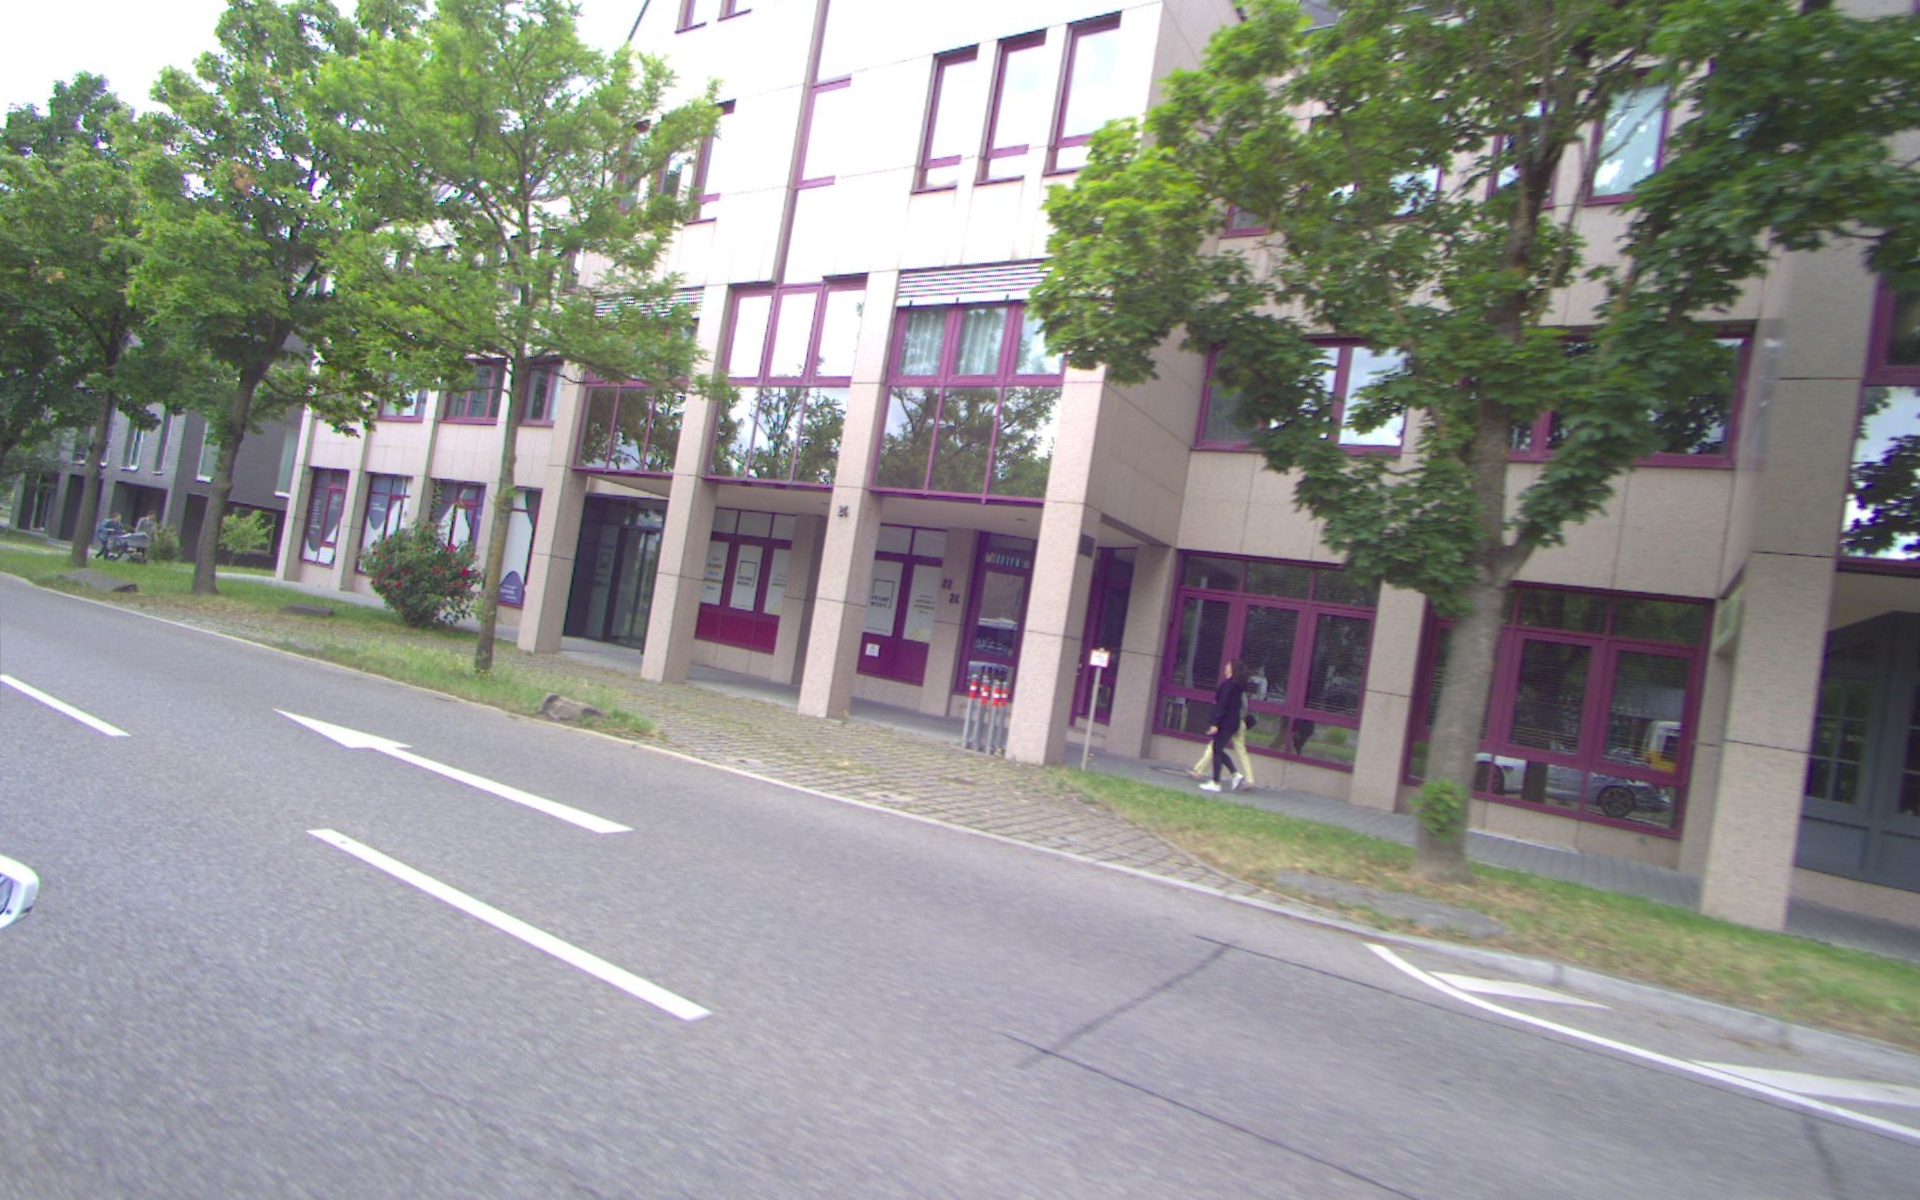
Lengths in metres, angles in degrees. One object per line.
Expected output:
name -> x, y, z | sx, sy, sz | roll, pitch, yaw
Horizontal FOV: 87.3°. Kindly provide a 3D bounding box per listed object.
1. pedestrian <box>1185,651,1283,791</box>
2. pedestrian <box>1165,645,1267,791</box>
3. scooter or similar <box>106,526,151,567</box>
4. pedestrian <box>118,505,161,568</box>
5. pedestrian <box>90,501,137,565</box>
pedestrian -> 3.726, 1.631, 13.700 | 0.954, 1.724, 0.596 | 7, -2, 35
pedestrian -> 3.333, 1.525, 13.100 | 0.954, 1.724, 0.596 | 7, -2, 35
scooter or similar -> -23.336, -1.501, 28.234 | 0.831, 1.005, 0.585 | 7, 0, 26
pedestrian -> -23.916, -1.852, 29.325 | 0.816, 1.719, 0.568 | 6, -2, 34
pedestrian -> -24.100, -1.912, 28.639 | 0.944, 1.672, 0.556 | 7, 0, 26
